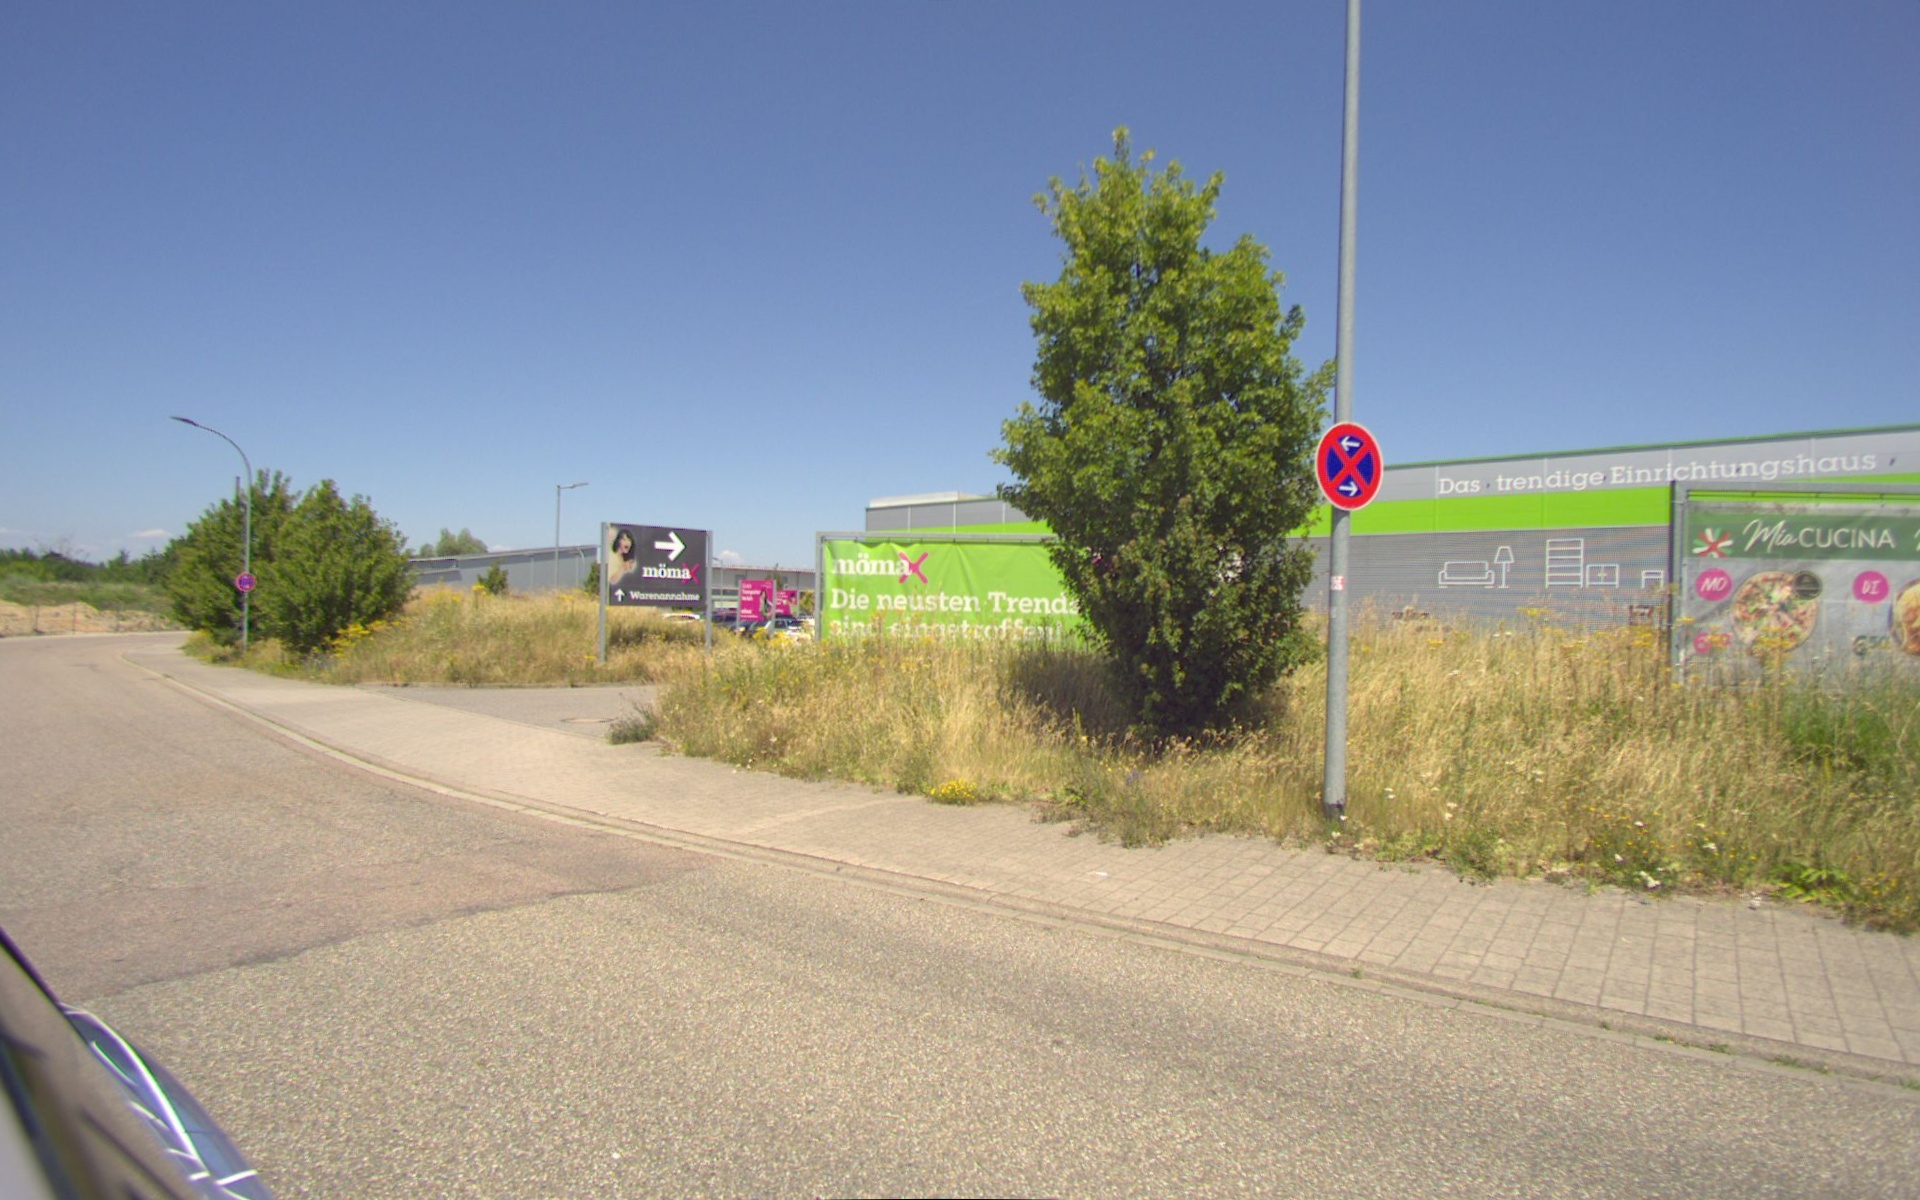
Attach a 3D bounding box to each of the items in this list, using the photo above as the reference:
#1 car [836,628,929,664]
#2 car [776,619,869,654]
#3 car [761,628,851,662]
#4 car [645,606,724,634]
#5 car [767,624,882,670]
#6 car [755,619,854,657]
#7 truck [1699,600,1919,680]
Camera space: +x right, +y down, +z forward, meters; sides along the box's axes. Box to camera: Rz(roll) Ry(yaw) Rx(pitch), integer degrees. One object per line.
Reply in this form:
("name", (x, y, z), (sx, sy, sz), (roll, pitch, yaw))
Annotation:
("car", (-3.851, 2.262, 50.810), (4.289, 1.556, 1.876), (-2, -1, -38))
("car", (-7.014, 1.840, 51.861), (4.289, 1.556, 1.876), (-2, -1, -38))
("car", (-8.159, 2.373, 53.723), (4.289, 1.556, 1.876), (-2, -1, -38))
("car", (-17.057, 1.246, 62.689), (4.289, 1.556, 1.876), (-2, -1, -38))
("car", (-5.318, 1.843, 40.179), (1.872, 1.556, 4.298), (-3, -1, 43))
("car", (-7.353, 1.789, 48.011), (4.292, 1.556, 1.875), (-2, -1, -41))
("truck", (32.388, 1.458, 38.210), (7.646, 2.704, 2.970), (-1, -2, -14))
